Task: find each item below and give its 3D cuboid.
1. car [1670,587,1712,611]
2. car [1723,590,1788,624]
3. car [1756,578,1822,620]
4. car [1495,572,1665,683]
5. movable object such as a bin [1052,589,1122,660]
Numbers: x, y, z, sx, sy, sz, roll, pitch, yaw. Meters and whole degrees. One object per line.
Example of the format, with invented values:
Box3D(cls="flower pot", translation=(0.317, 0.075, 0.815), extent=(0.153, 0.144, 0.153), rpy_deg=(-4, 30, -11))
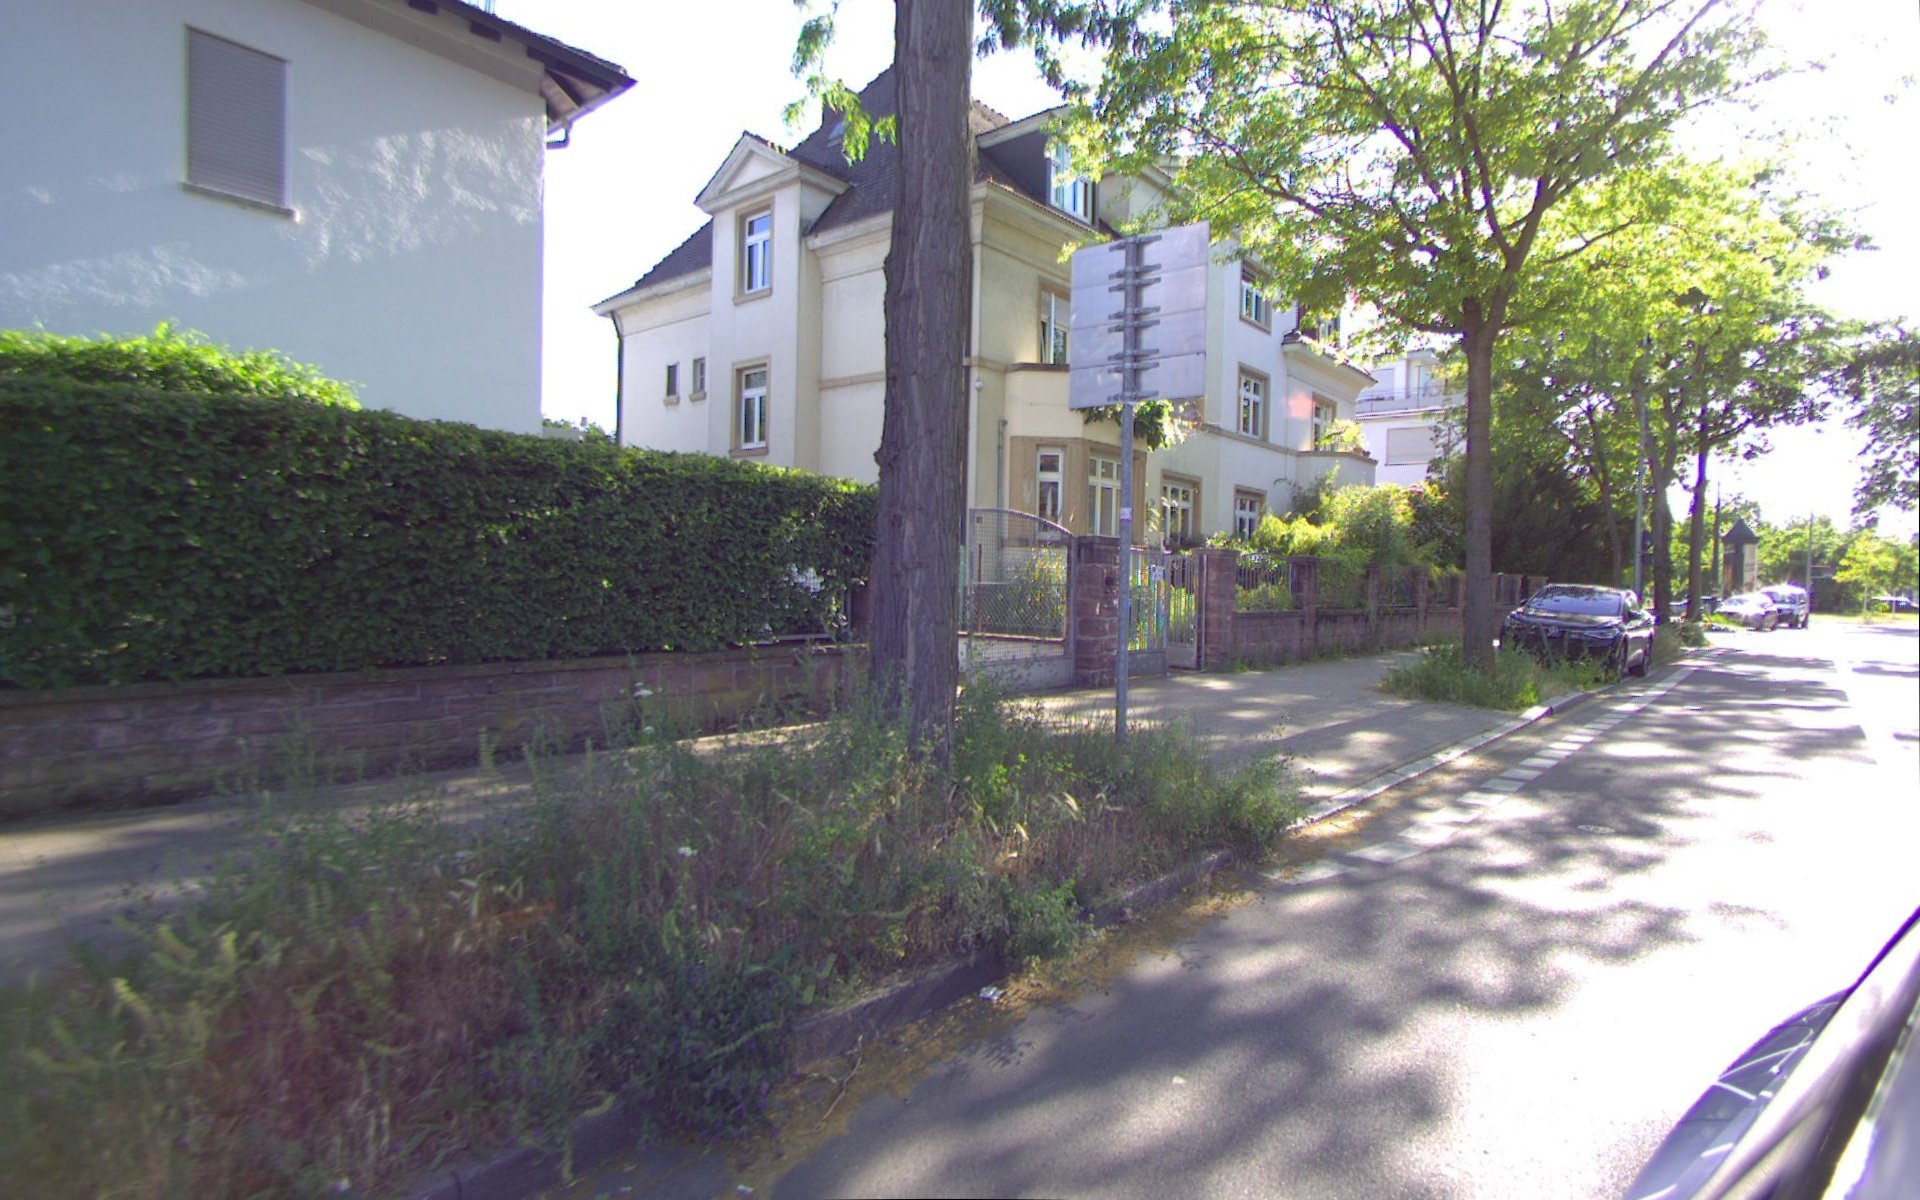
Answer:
Box3D(cls="car", translation=(47.079, -0.116, 65.137), extent=(1.736, 1.460, 3.938), rpy_deg=(1, 2, 43))
Box3D(cls="car", translation=(33.861, 0.253, 43.061), extent=(3.854, 1.356, 1.716), rpy_deg=(-1, 2, -45))
Box3D(cls="car", translation=(38.656, -0.069, 47.156), extent=(4.178, 1.852, 1.901), rpy_deg=(-1, 2, -44))
Box3D(cls="car", translation=(11.360, 0.396, 18.412), extent=(1.992, 1.765, 4.109), rpy_deg=(1, 1, 41))
Box3D(cls="movable object such as a bin", translation=(2.002, 0.370, 16.007), extent=(0.712, 1.068, 0.969), rpy_deg=(0, 1, -22))
